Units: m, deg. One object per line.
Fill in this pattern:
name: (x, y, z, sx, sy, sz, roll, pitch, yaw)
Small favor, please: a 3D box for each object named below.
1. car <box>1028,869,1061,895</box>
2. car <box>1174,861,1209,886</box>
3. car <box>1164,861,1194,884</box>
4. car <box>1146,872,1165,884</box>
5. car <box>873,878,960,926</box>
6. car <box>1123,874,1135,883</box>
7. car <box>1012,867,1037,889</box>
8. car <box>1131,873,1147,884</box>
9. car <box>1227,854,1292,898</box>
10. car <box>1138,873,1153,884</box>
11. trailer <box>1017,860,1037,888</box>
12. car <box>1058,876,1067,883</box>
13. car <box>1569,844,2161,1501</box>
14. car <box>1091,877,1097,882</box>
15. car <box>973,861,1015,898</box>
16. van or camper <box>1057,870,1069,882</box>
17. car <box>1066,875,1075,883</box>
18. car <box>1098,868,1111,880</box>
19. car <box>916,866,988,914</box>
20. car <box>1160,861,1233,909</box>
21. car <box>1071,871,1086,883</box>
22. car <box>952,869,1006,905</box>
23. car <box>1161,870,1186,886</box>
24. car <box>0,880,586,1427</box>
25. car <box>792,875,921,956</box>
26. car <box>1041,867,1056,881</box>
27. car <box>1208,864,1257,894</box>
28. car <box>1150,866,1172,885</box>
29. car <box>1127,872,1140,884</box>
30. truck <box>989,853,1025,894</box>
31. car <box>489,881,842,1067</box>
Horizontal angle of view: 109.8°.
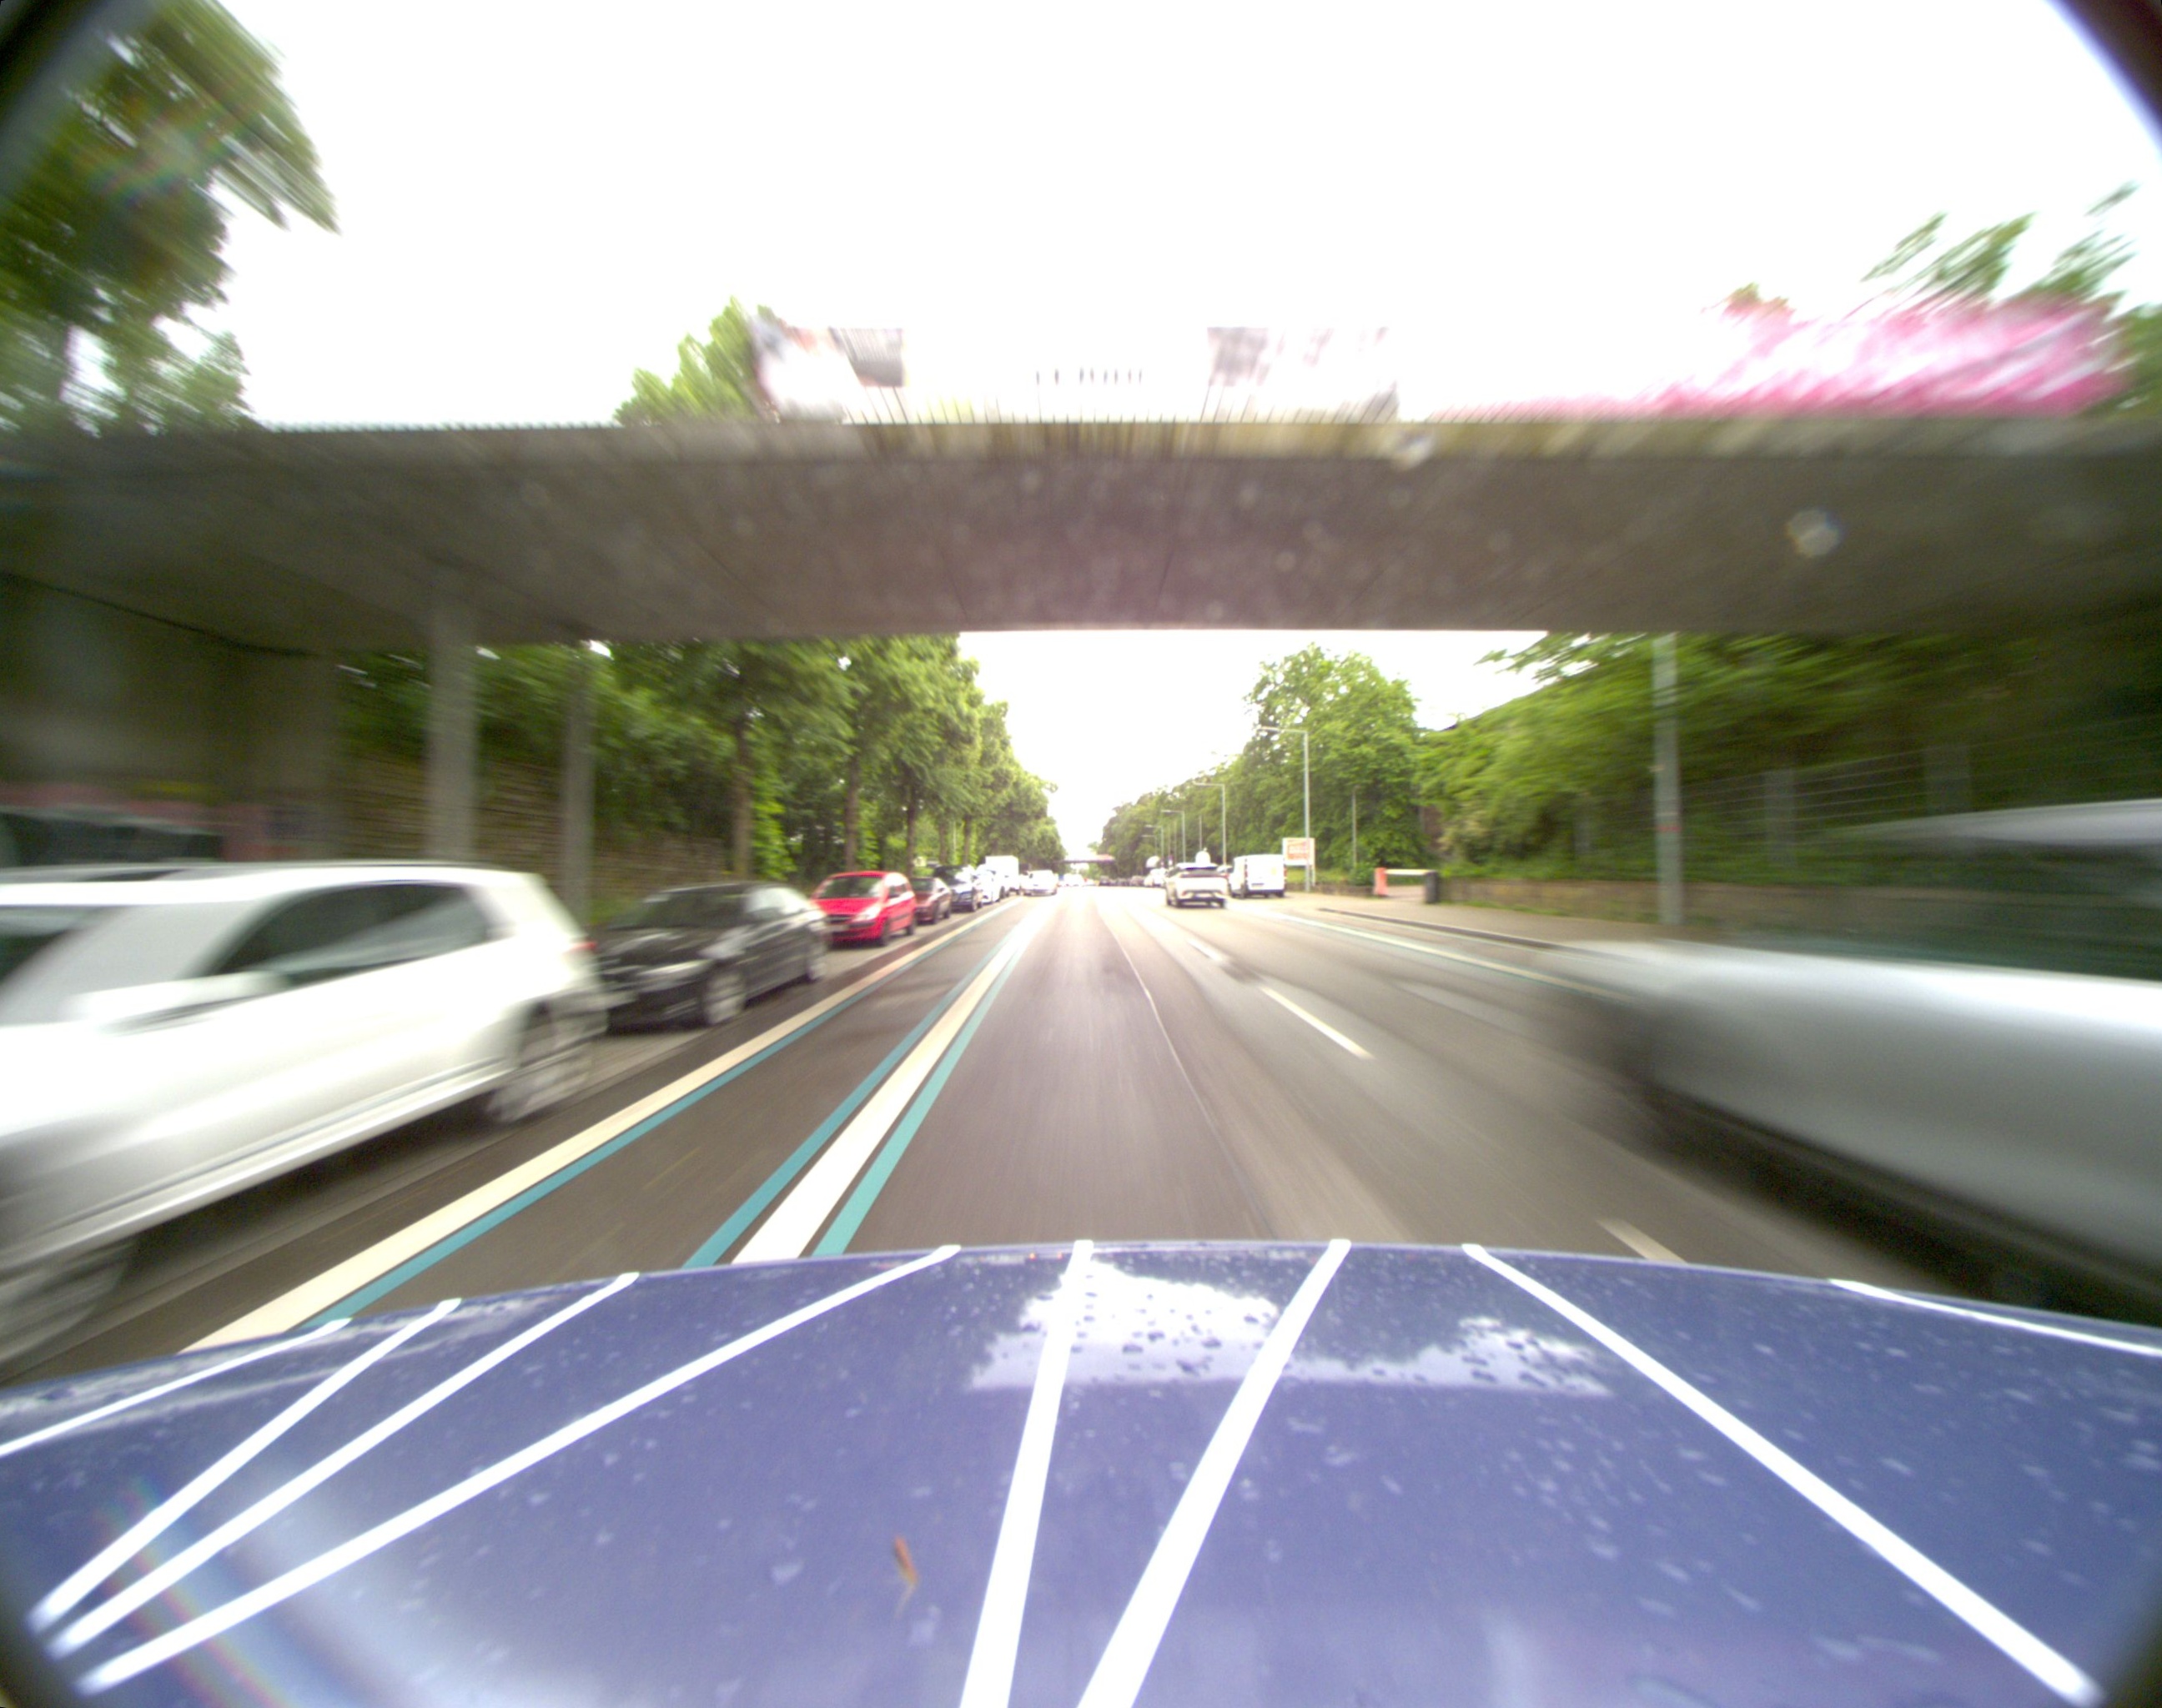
car: (-2.089, 1.601, 44.360, 1.726, 1.389, 4.591, -1, -2, -1)
car: (8.705, 1.536, 60.173, 1.999, 1.901, 4.846, 0, -2, 0)
car: (8.514, 1.620, 66.305, 1.881, 1.908, 5.205, 1, -2, 0)
car: (8.632, 2.793, 88.399, 1.731, 1.439, 4.596, 0, -2, 1)
car: (-4.583, 1.308, 21.699, 1.630, 1.182, 4.184, -1, -1, -1)
car: (8.423, 4.415, 134.539, 1.822, 1.533, 4.545, 0, -3, 0)
car: (-4.326, 1.794, 57.939, 1.761, 1.575, 4.412, -1, -1, -6)
car: (8.214, 3.419, 107.212, 1.795, 1.458, 4.328, 0, -2, -2)
car: (8.318, 1.060, 35.875, 1.983, 1.902, 5.229, -1, -2, 2)
car: (8.539, 3.234, 100.575, 1.680, 1.363, 3.587, 0, -2, 0)
trailer: (-4.474, 1.654, 63.276, 1.350, 2.255, 3.564, -2, -1, 0)
car: (-4.099, 5.636, 169.287, 1.733, 1.578, 3.672, -2, -1, 0)
car: (3.511, 0.768, 2.047, 1.800, 1.567, 4.102, -1, 1, 1)
car: (4.455, 8.645, 257.300, 1.828, 1.453, 3.884, -2, -3, 0)
car: (-4.525, 1.330, 40.106, 1.726, 1.779, 4.346, -1, -1, 0)
van or camper: (-4.099, 5.062, 175.604, 2.642, 2.617, 5.744, -1, -1, 0)
car: (-2.188, 5.275, 161.431, 1.733, 1.578, 3.672, -2, -1, 0)
car: (3.554, 3.039, 114.705, 1.715, 1.608, 4.151, 1, -2, 0)
car: (-4.555, 1.256, 27.410, 1.999, 1.550, 4.642, -1, -1, -3)
car: (4.053, 1.056, 27.173, 1.977, 1.543, 3.870, -1, 0, 0)
car: (-0.287, 2.918, 98.522, 1.828, 1.453, 3.882, -2, -1, 0)
car: (-4.373, 1.388, 33.156, 1.664, 1.417, 4.619, -1, -1, 1)
car: (8.691, 2.282, 72.031, 1.688, 1.449, 4.612, 1, -2, -1)
car: (-4.290, 1.012, 3.146, 1.718, 1.609, 4.260, -1, 0, -1)
car: (-4.513, 1.183, 15.774, 1.563, 1.457, 3.626, -1, -2, 0)
car: (-4.491, 2.783, 105.652, 1.847, 1.864, 4.617, -1, -2, 0)
car: (8.599, 1.403, 43.392, 1.829, 1.606, 4.664, 0, -2, -1)
car: (8.644, 2.338, 82.395, 1.877, 1.965, 4.736, 0, -2, -1)
car: (8.672, 3.982, 125.433, 1.822, 1.754, 4.002, 0, -3, 0)
truck: (-4.396, 1.161, 45.774, 1.723, 2.319, 4.001, -1, -1, 0)
car: (-4.353, 1.137, 8.914, 1.677, 1.385, 4.449, -1, 1, 0)
